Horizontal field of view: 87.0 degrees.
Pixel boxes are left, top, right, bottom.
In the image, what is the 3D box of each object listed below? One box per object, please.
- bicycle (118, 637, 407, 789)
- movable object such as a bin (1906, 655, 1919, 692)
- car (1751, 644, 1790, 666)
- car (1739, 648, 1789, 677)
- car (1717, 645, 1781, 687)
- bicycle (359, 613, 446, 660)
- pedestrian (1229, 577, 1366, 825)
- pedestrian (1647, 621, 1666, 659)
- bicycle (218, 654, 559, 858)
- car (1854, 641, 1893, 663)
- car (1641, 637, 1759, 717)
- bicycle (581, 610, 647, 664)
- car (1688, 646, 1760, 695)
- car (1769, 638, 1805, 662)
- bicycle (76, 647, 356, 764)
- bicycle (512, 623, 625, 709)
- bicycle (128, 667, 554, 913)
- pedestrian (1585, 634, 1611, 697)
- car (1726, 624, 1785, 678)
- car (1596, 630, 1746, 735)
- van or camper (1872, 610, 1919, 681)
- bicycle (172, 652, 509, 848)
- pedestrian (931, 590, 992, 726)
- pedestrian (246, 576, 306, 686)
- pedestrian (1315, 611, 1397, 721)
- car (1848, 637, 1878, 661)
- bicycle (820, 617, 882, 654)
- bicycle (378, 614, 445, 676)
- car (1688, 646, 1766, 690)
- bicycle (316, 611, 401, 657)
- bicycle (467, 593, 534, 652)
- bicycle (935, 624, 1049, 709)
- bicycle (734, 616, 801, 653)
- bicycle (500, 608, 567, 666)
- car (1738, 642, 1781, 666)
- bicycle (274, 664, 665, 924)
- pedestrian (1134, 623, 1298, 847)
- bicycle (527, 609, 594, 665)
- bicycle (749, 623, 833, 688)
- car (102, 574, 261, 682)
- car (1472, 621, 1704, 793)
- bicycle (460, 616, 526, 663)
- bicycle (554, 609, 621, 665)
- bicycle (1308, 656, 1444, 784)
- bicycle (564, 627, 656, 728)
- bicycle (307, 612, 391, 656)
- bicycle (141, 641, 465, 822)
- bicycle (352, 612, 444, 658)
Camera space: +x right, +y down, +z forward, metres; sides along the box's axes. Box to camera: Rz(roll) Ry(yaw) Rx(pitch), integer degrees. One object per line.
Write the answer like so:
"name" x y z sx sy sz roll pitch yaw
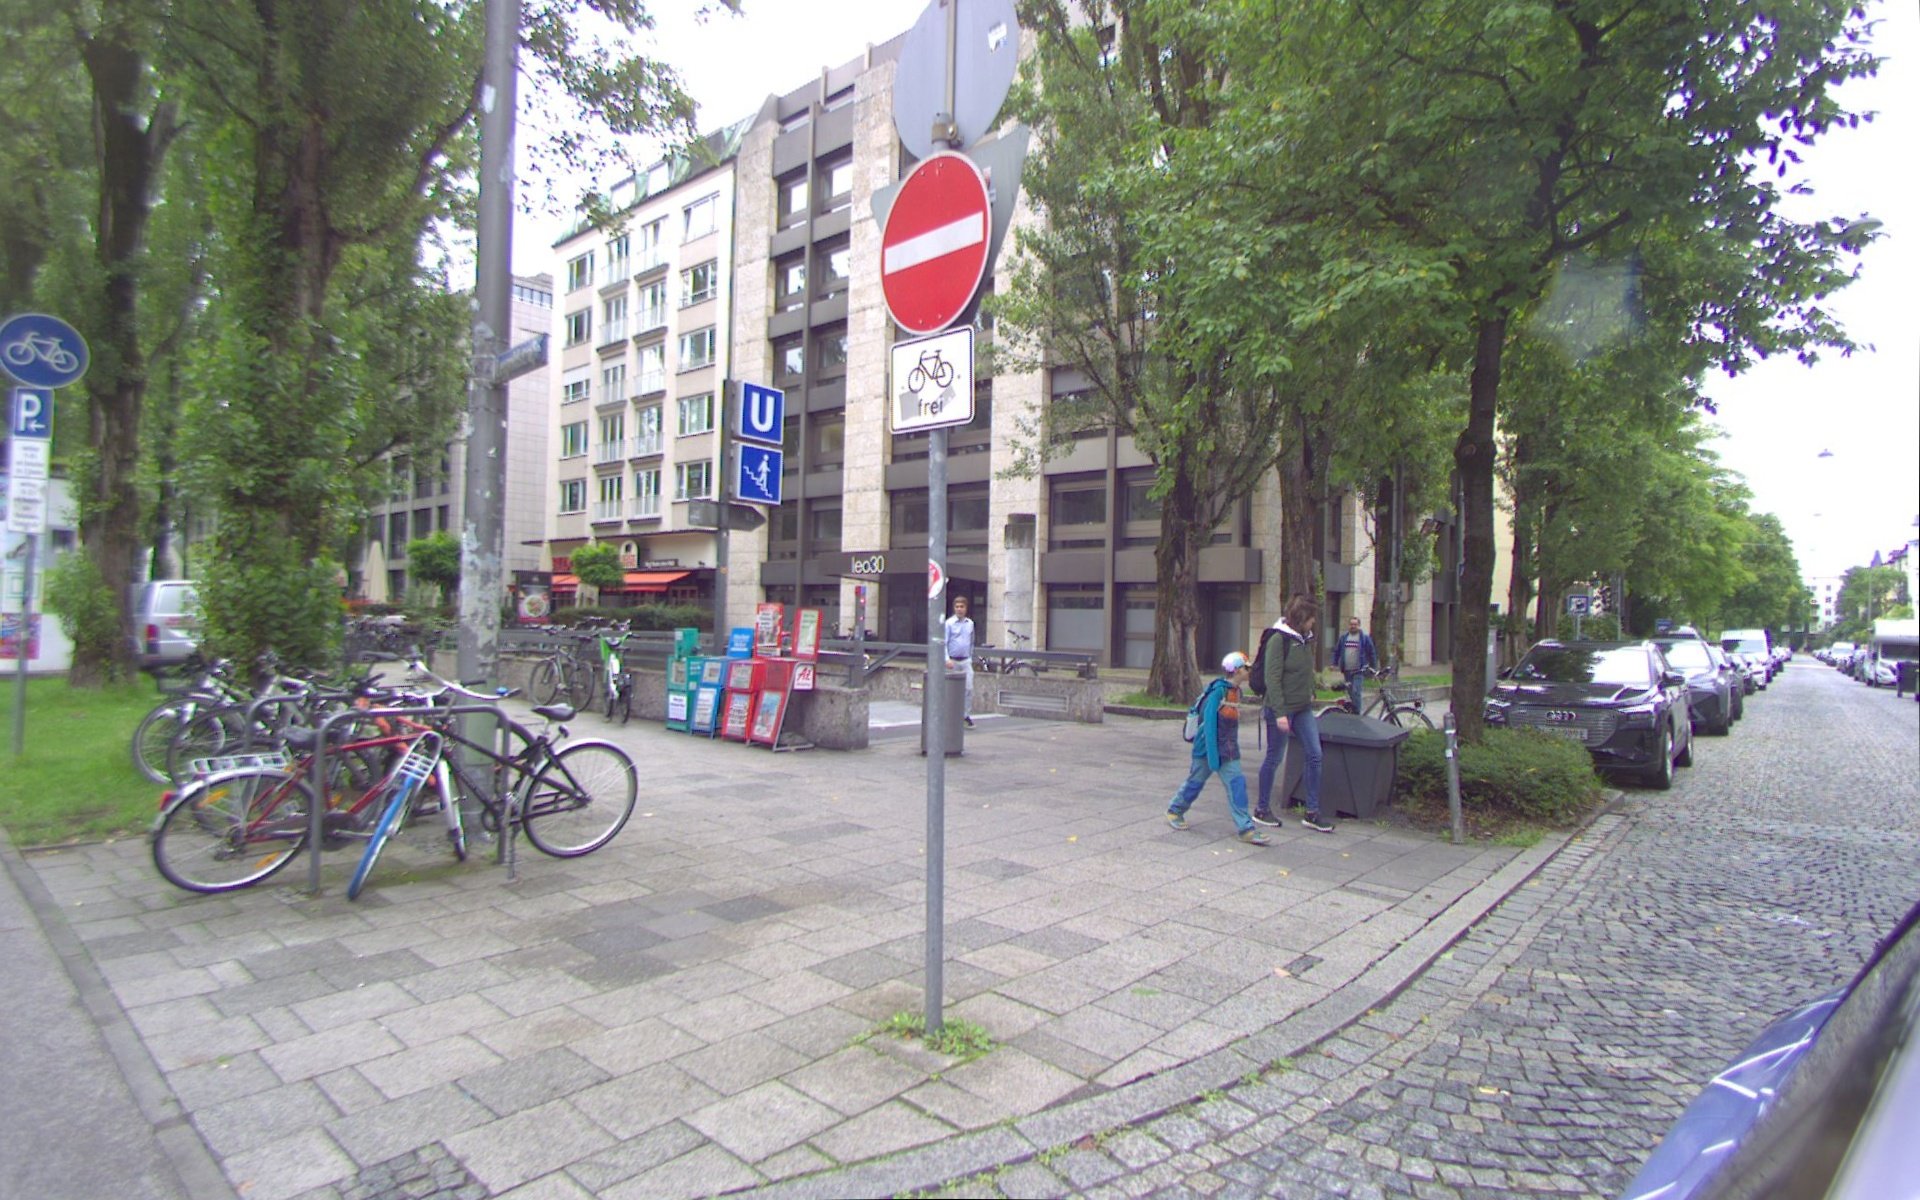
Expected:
"bicycle" -5.444 0.831 7.990 1.803 1.051 0.512 2 -1 -44
"movable object such as a bin" 34.955 2.659 36.386 1.248 1.315 1.158 1 -2 37
"car" 55.709 3.755 69.620 1.989 1.405 3.820 0 -2 38
"car" 42.689 3.277 53.802 1.989 1.406 3.820 -1 -3 38
"car" 30.688 2.526 39.390 1.858 1.518 3.820 -1 -3 38
"bicycle" -14.282 0.931 25.946 0.586 1.175 1.839 -1 -2 43
"pedestrian" 2.496 0.710 7.508 0.651 1.722 0.691 2 -2 -33
"pedestrian" 29.633 1.696 43.060 0.642 1.557 0.699 0 -2 38
"bicycle" -3.585 0.916 6.510 0.474 1.064 1.847 0 -1 43
"car" 73.598 4.134 81.544 1.989 1.712 3.820 -1 -3 38
"car" 17.111 1.689 23.328 1.990 1.603 4.279 -1 -2 39
"bicycle" -7.858 0.826 22.920 1.862 1.175 0.578 0 -2 43
"car" 24.202 2.195 32.017 1.598 1.449 3.510 -3 -4 40
"car" 63.113 3.797 77.271 1.989 1.712 3.820 -1 -3 38
"bicycle" -6.075 0.823 8.348 1.803 0.828 0.470 1 -1 -44
"bicycle" -5.831 0.955 15.048 1.856 1.175 0.580 0 -2 34
"bicycle" -3.192 0.911 5.404 0.474 1.064 1.847 0 -3 43
"pedestrian" 17.089 1.751 27.109 0.488 1.649 0.559 -1 -2 44
"car" 38.462 2.430 48.912 2.078 2.464 5.530 -2 -3 39
"car" 13.583 1.458 19.210 2.009 1.722 4.606 -1 -2 39
"van or camper" 44.108 2.116 46.835 2.453 3.087 7.212 0 -2 39
"bicycle" -4.035 0.916 6.737 0.474 1.064 1.847 0 -1 43
"pedestrian" 0.015 0.756 13.429 0.698 1.746 0.670 1 -2 -6
"pedestrian" -11.961 0.538 17.697 0.704 1.864 0.689 0 -2 44
"pedestrian" 6.453 1.052 16.497 0.893 1.736 0.870 2 -2 -30
"car" 98.426 5.310 110.375 2.078 2.464 5.530 0 -2 39
"bicycle" -3.639 1.194 34.069 0.645 1.170 2.212 0 -2 41
"bicycle" -11.143 0.891 20.523 1.977 1.175 0.578 0 -2 43
"car" 27.031 2.350 35.627 1.990 1.406 3.817 -2 -3 40
"bicycle" -16.215 0.927 27.305 0.586 1.175 1.839 1 -2 43
"bicycle" -9.545 0.453 20.979 1.862 1.175 0.578 0 -2 43
"bicycle" 0.506 1.060 16.629 1.862 1.293 0.710 0 -2 43
"bicycle" -6.214 1.118 32.822 0.645 1.170 2.212 0 -2 41
"bicycle" -9.096 0.768 21.527 1.862 1.175 0.578 0 -2 43
"car" 49.952 3.366 63.290 1.989 1.406 3.820 -1 -3 38
"bicycle" -2.483 0.915 5.375 0.473 1.064 1.852 0 -1 36
"pedestrian" 1.798 0.895 7.133 0.802 1.438 0.771 2 -2 -33
"bicycle" -8.700 0.786 21.996 1.862 1.175 0.578 0 -2 43
"bicycle" -3.319 1.062 19.767 1.862 1.175 0.578 0 -2 43
"car" -16.497 0.497 21.332 5.186 1.920 1.786 3 0 43
"car" 7.827 1.150 12.435 1.917 1.722 4.141 -1 -2 39
"bicycle" -12.609 1.056 27.299 1.852 1.175 0.582 1 -2 28
"bicycle" -8.279 0.799 22.457 1.862 1.175 0.578 0 -2 43
"bicycle" 4.216 1.158 10.182 1.843 1.151 0.475 2 -2 -40
"bicycle" -4.547 0.957 13.075 0.577 1.175 1.868 2 -2 -36
"bicycle" -16.734 0.928 27.739 0.586 1.175 1.839 -1 -3 43
"bicycle" -4.699 0.877 7.379 0.511 1.119 1.902 0 -1 41
"bicycle" -14.663 0.912 26.444 0.586 1.175 2.000 -1 -2 43
